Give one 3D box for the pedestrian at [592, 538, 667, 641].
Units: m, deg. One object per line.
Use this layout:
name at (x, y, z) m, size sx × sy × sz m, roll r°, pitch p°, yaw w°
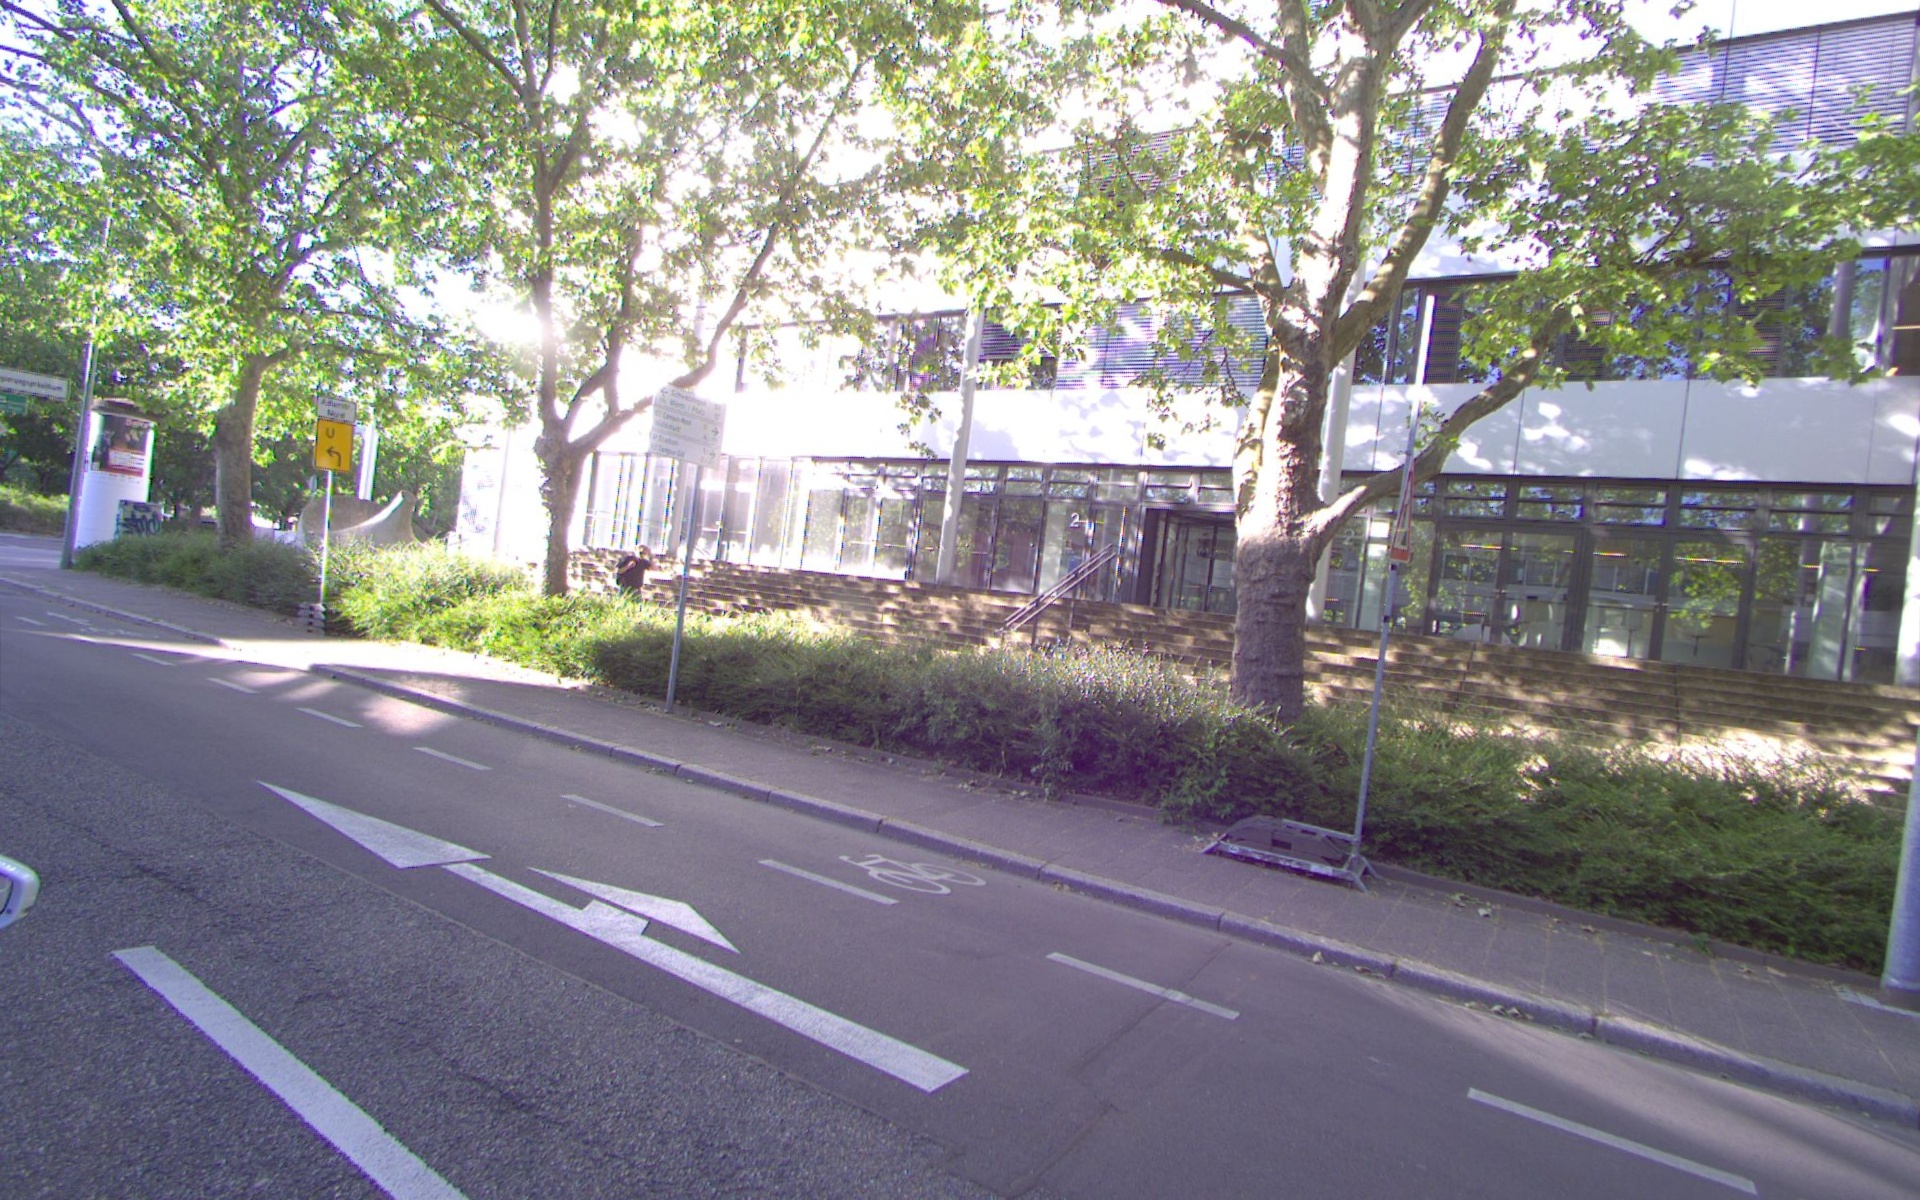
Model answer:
pedestrian at (-6.219, -0.196, 18.939) m, size 0.848 × 1.802 × 0.785 m, roll 7°, pitch 0°, yaw 30°
